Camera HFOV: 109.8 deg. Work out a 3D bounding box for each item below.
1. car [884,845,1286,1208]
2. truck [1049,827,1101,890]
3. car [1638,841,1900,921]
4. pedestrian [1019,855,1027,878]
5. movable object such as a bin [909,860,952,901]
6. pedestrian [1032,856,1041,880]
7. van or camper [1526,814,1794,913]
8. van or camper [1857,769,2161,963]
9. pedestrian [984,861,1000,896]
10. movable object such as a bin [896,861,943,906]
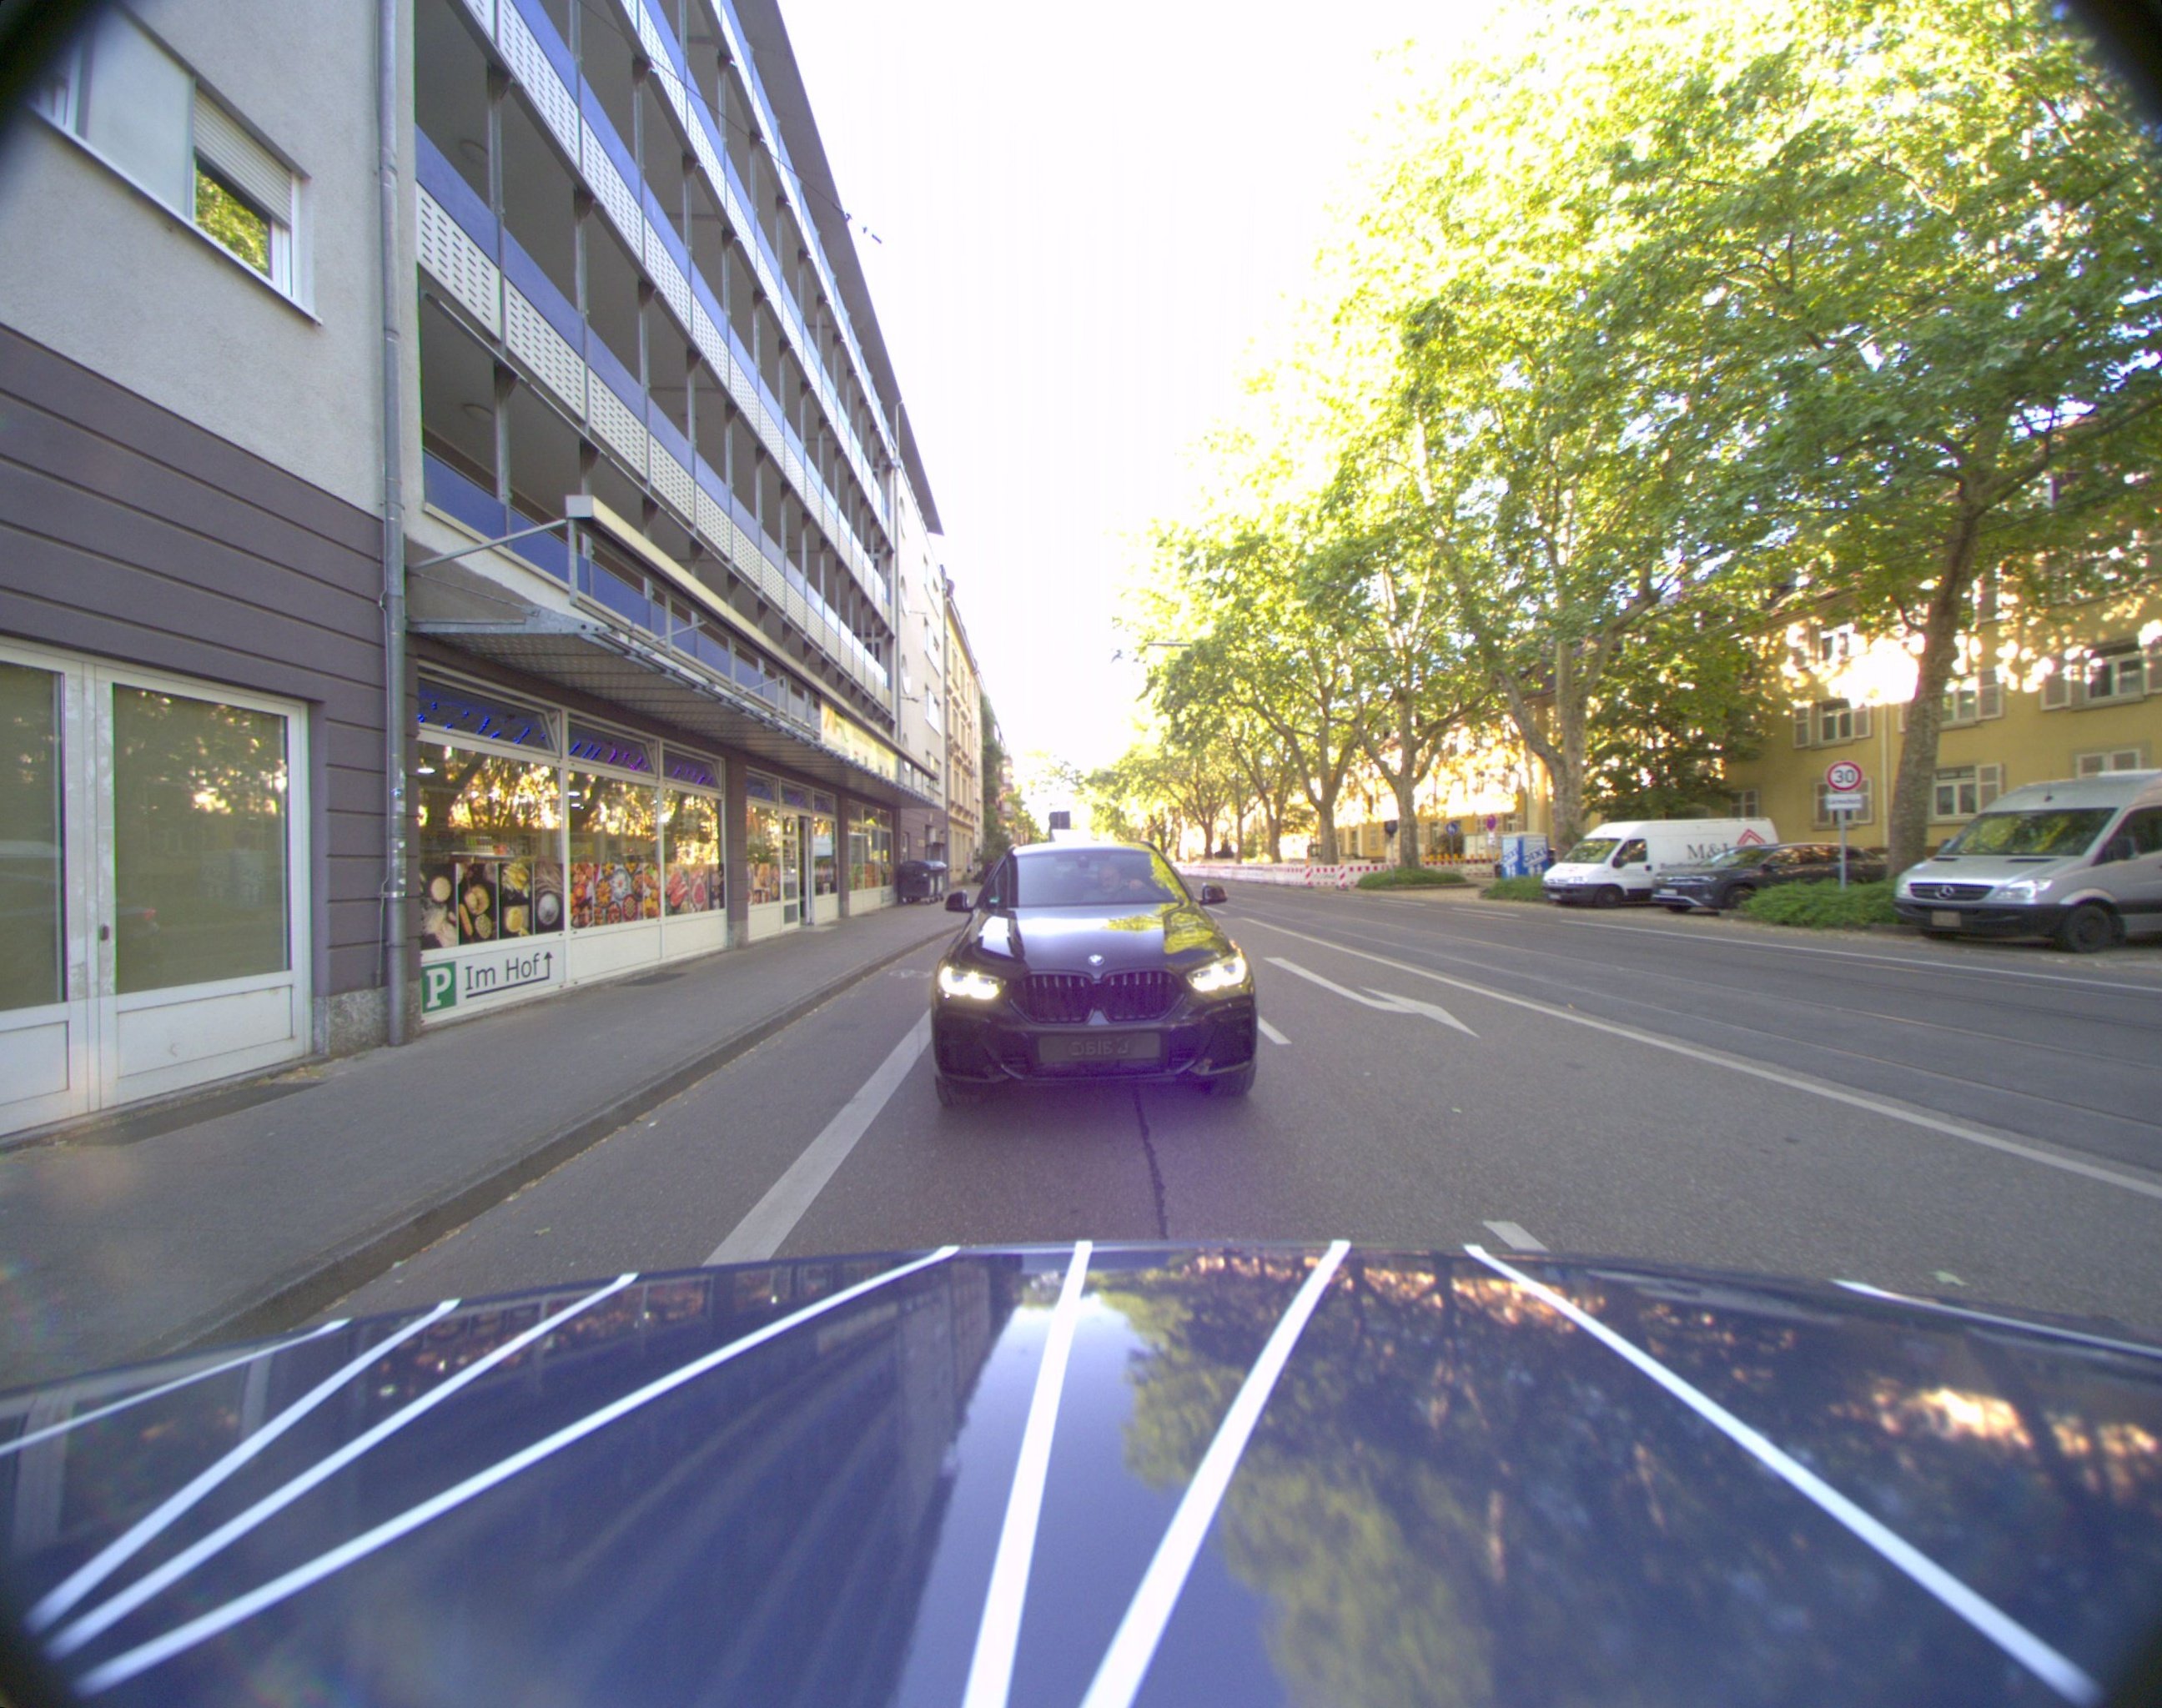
[{"bbox_3d":[0.063,0.837,6.114,1.930,1.742,4.683,-2,1,1],"label":"car"},{"bbox_3d":[-0.402,0.192,40.816,2.344,3.095,5.210,-2,1,-4],"label":"truck"},{"bbox_3d":[15.990,0.605,17.823,4.540,1.624,1.693,-2,1,1],"label":"car"},{"bbox_3d":[-4.127,0.889,54.189,0.541,1.662,0.513,-1,0,1],"label":"pedestrian"},{"bbox_3d":[-5.287,0.925,26.794,1.203,1.402,1.372,-1,0,1],"label":"movable object such as a bin"},{"bbox_3d":[-3.111,0.946,53.250,0.541,1.662,0.630,-1,0,1],"label":"pedestrian"},{"bbox_3d":[15.867,0.242,21.052,5.763,2.371,2.156,-2,1,0],"label":"van or camper"},{"bbox_3d":[16.001,0.086,11.685,5.931,2.633,2.156,-2,1,0],"label":"van or camper"},{"bbox_3d":[-3.683,0.999,31.441,0.541,1.437,0.630,-1,0,1],"label":"pedestrian"},{"bbox_3d":[-5.262,0.946,24.795,1.203,1.402,1.372,-1,0,1],"label":"movable object such as a bin"}]
